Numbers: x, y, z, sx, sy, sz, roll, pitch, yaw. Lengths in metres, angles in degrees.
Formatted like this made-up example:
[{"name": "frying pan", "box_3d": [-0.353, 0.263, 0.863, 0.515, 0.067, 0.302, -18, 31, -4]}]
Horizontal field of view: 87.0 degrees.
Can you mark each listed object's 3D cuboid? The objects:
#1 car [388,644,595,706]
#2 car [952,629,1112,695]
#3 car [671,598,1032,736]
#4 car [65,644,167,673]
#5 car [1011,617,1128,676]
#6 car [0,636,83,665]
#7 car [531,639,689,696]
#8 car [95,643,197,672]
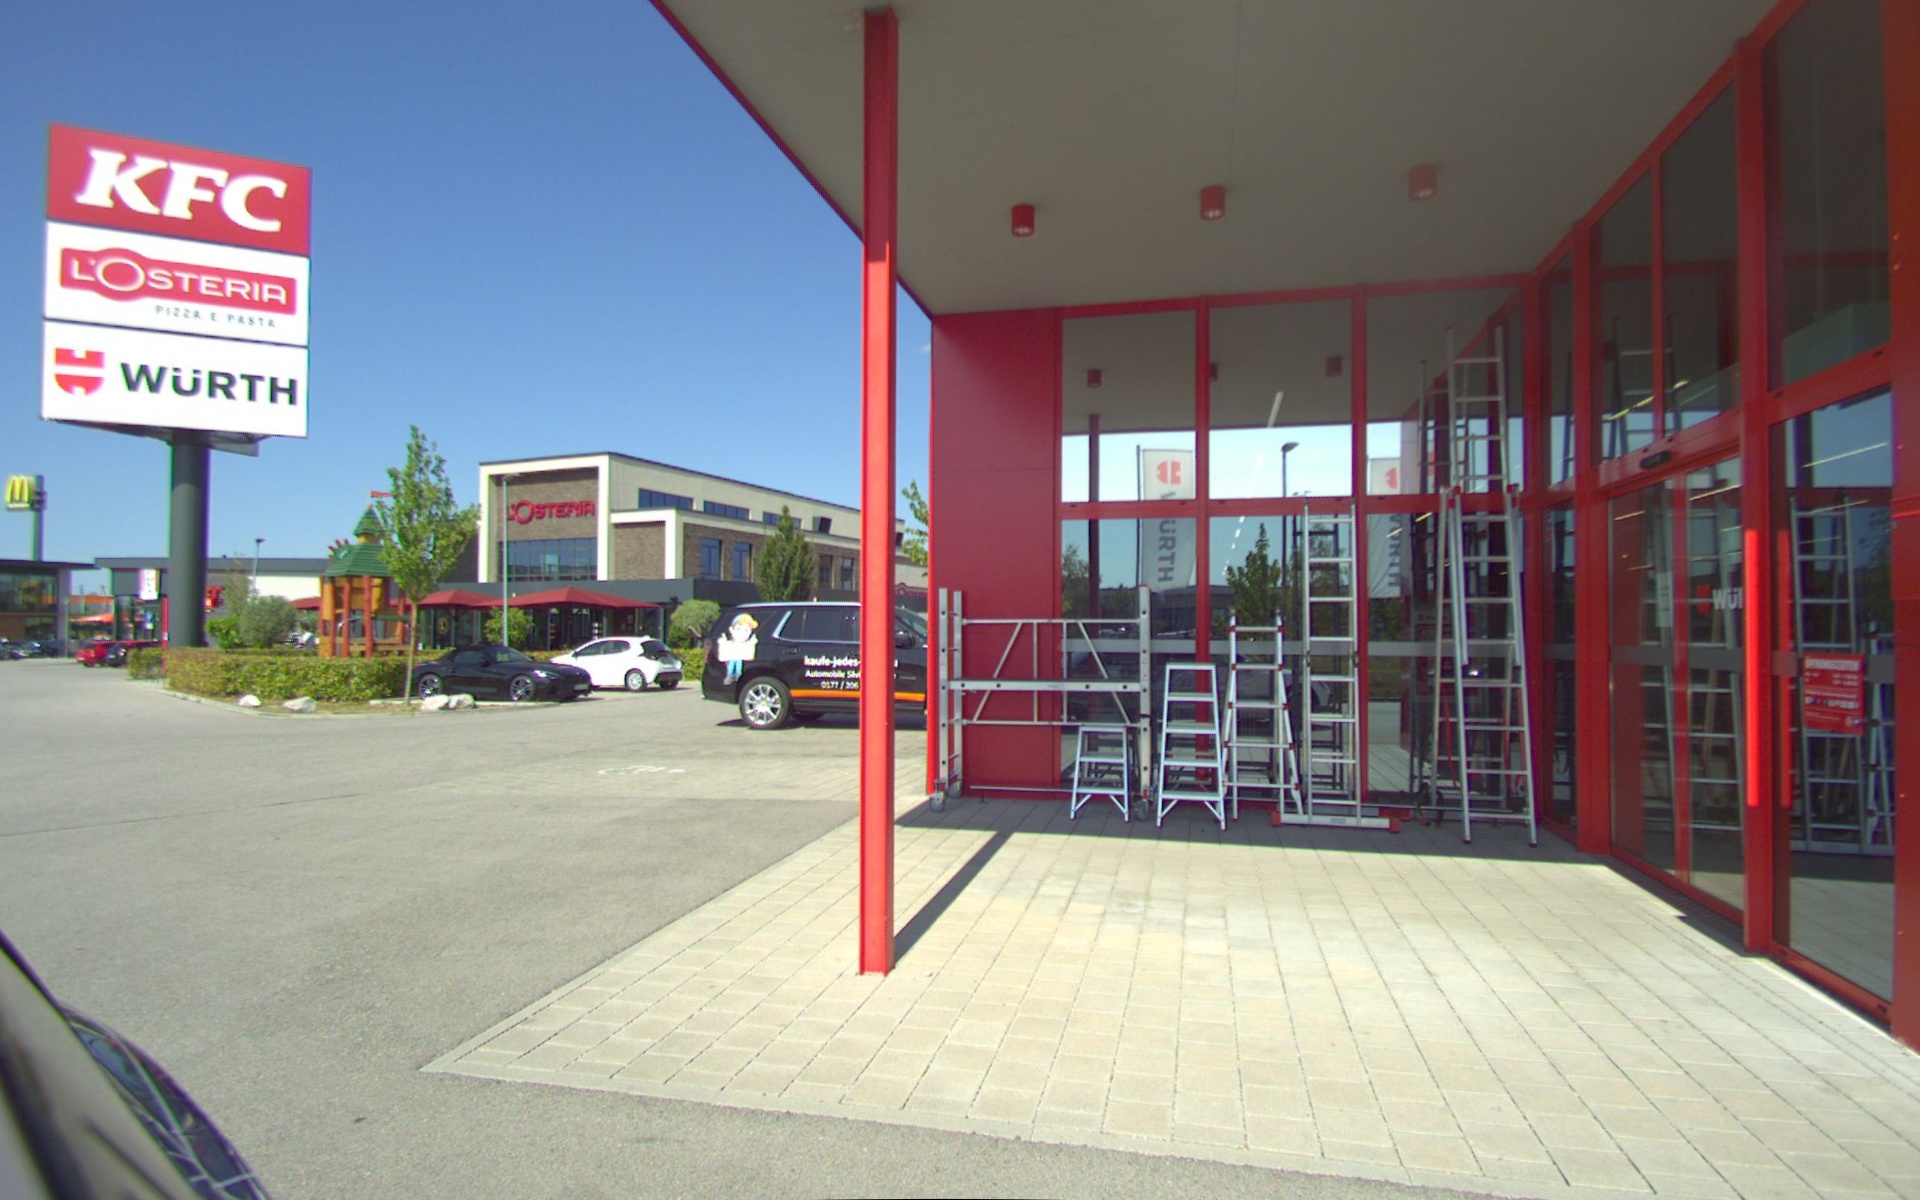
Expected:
[{"name": "car", "box_3d": [-10.811, 1.703, 23.449, 4.112, 1.348, 1.823, -1, -2, 13]}, {"name": "car", "box_3d": [1.926, 1.616, 26.716, 3.963, 1.629, 1.772, -1, -2, 15]}, {"name": "car", "box_3d": [-1.652, 1.029, 15.997, 5.329, 1.953, 2.022, -1, -2, 14]}, {"name": "car", "box_3d": [-48.007, 3.290, 57.662, 1.867, 1.577, 4.063, -1, -3, 24]}, {"name": "car", "box_3d": [4.008, 1.682, 36.733, 3.963, 2.029, 1.990, -1, -2, 15]}, {"name": "car", "box_3d": [-68.899, 3.763, 75.822, 1.988, 2.029, 4.448, -1, -2, 24]}, {"name": "car", "box_3d": [-9.728, 1.848, 28.166, 3.882, 1.486, 1.792, -1, -3, 18]}, {"name": "car", "box_3d": [-45.489, 3.191, 56.656, 1.867, 1.577, 4.063, -1, -3, 24]}]
